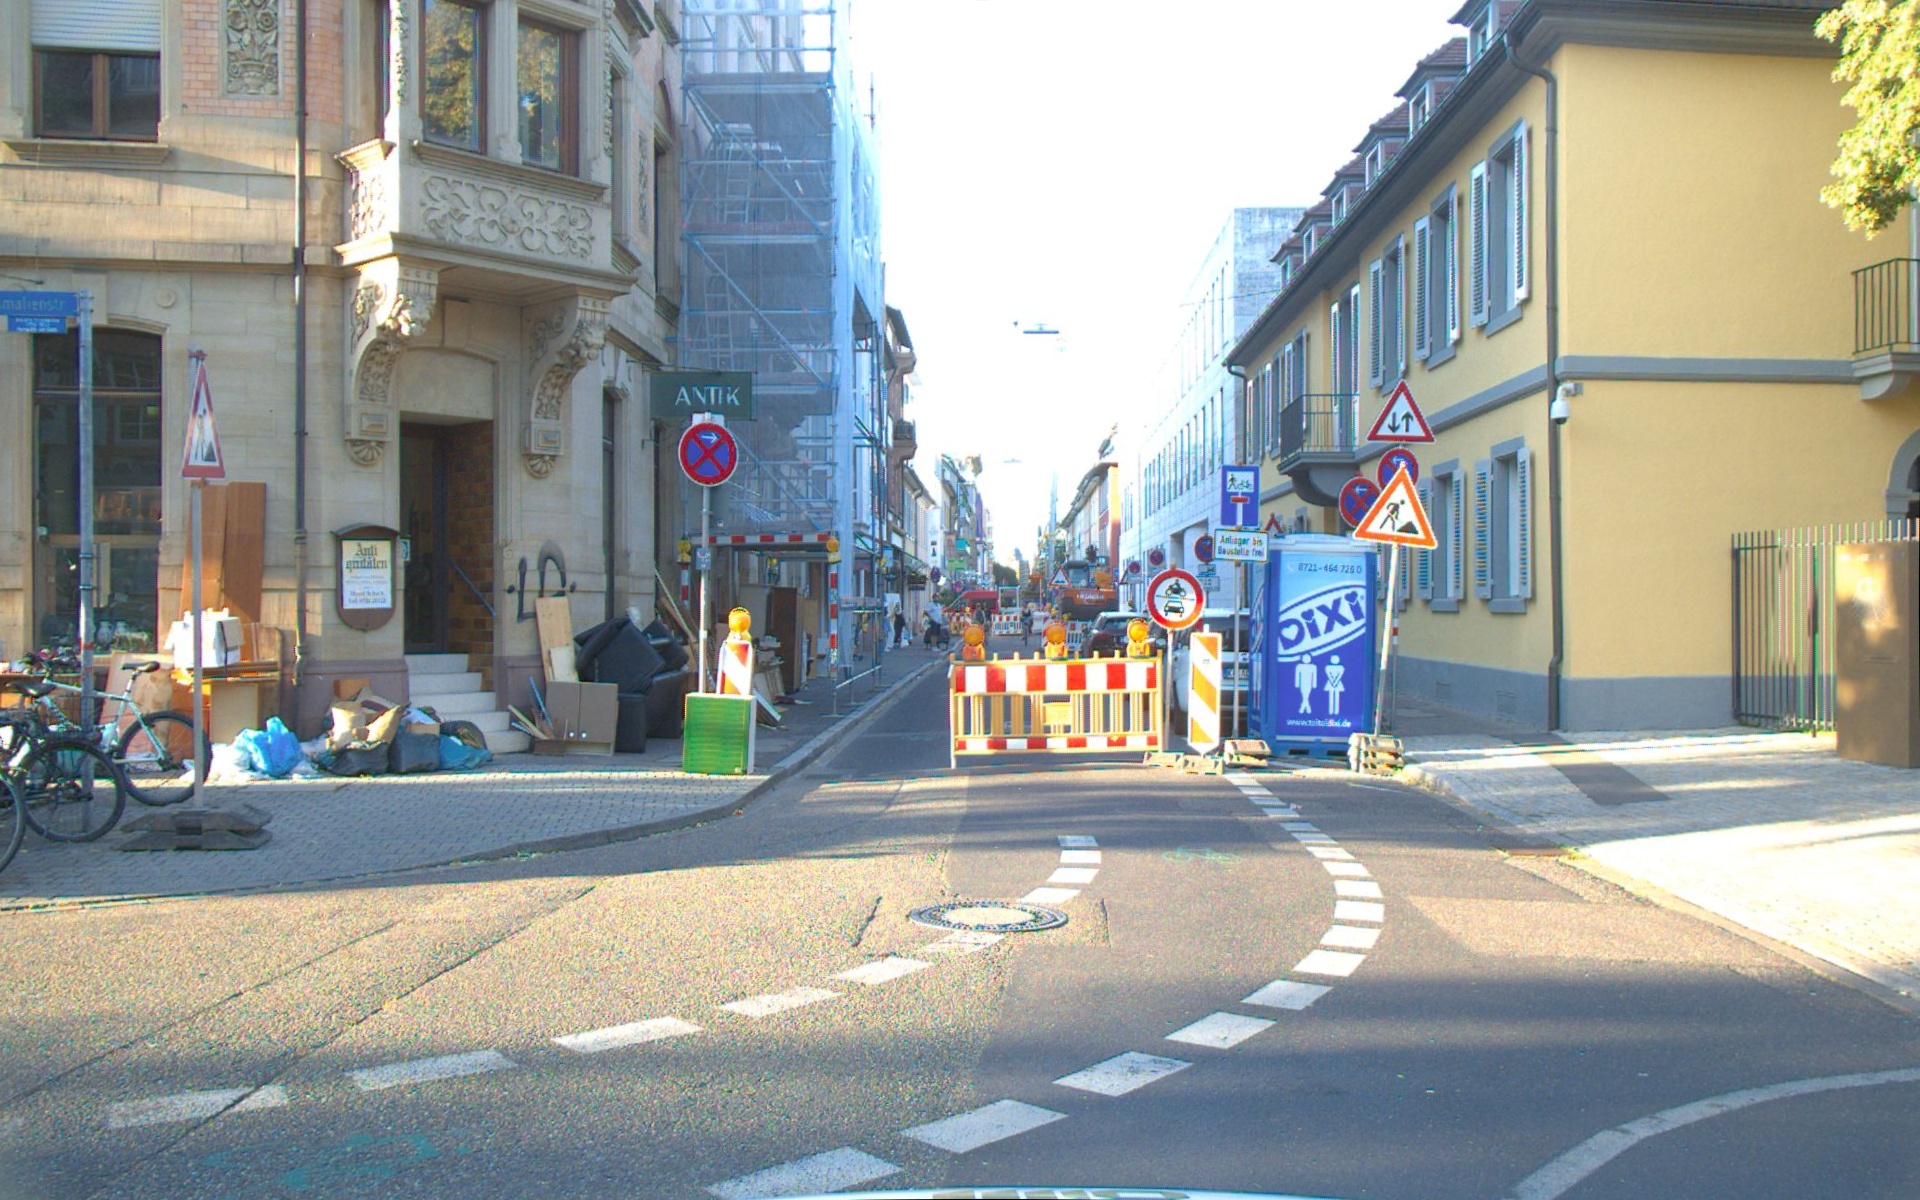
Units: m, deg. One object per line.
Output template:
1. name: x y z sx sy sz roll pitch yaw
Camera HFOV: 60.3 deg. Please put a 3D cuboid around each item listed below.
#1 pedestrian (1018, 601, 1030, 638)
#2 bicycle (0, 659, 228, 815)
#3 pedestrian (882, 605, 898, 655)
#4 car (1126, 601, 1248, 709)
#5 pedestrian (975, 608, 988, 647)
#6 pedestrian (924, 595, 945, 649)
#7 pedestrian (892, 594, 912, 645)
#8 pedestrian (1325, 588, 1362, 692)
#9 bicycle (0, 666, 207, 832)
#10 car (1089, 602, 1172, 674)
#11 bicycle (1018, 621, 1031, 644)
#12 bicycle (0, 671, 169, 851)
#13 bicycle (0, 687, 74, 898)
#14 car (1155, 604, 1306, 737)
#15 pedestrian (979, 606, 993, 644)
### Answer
1. pedestrian: 2.562 0.786 66.066 0.494 1.487 0.512 0 0 3
2. bicycle: -6.366 0.963 11.763 2.065 1.058 0.464 0 0 -10
3. pedestrian: -2.252 0.956 53.053 0.335 1.594 0.420 0 -1 24
4. car: 3.481 0.802 25.912 1.508 1.546 3.980 0 0 2
5. pedestrian: 0.813 1.042 62.780 0.494 1.487 0.512 0 0 2
6. pedestrian: -0.858 0.717 55.071 0.501 1.795 0.505 0 0 -39
7. pedestrian: -1.994 0.678 57.310 0.662 1.763 0.699 0 -1 -1
8. pedestrian: 6.037 0.622 26.059 0.457 1.623 0.673 0 0 4
9. bicycle: -6.164 0.973 10.919 2.065 1.031 0.638 0 0 -10
10. car: 3.851 0.838 37.753 1.682 1.546 3.222 0 0 2
11. bicycle: 2.567 1.285 66.119 0.494 0.899 1.477 0 0 2
12. bicycle: -5.883 0.972 10.093 1.792 1.031 0.638 0 0 -10
13. bicycle: -5.780 1.016 8.796 1.791 1.065 0.571 0 0 -6
14. car: 3.405 0.841 21.293 1.508 1.546 3.222 1 0 2
15. pedestrian: 1.020 1.005 65.954 0.494 1.487 0.513 0 0 8
